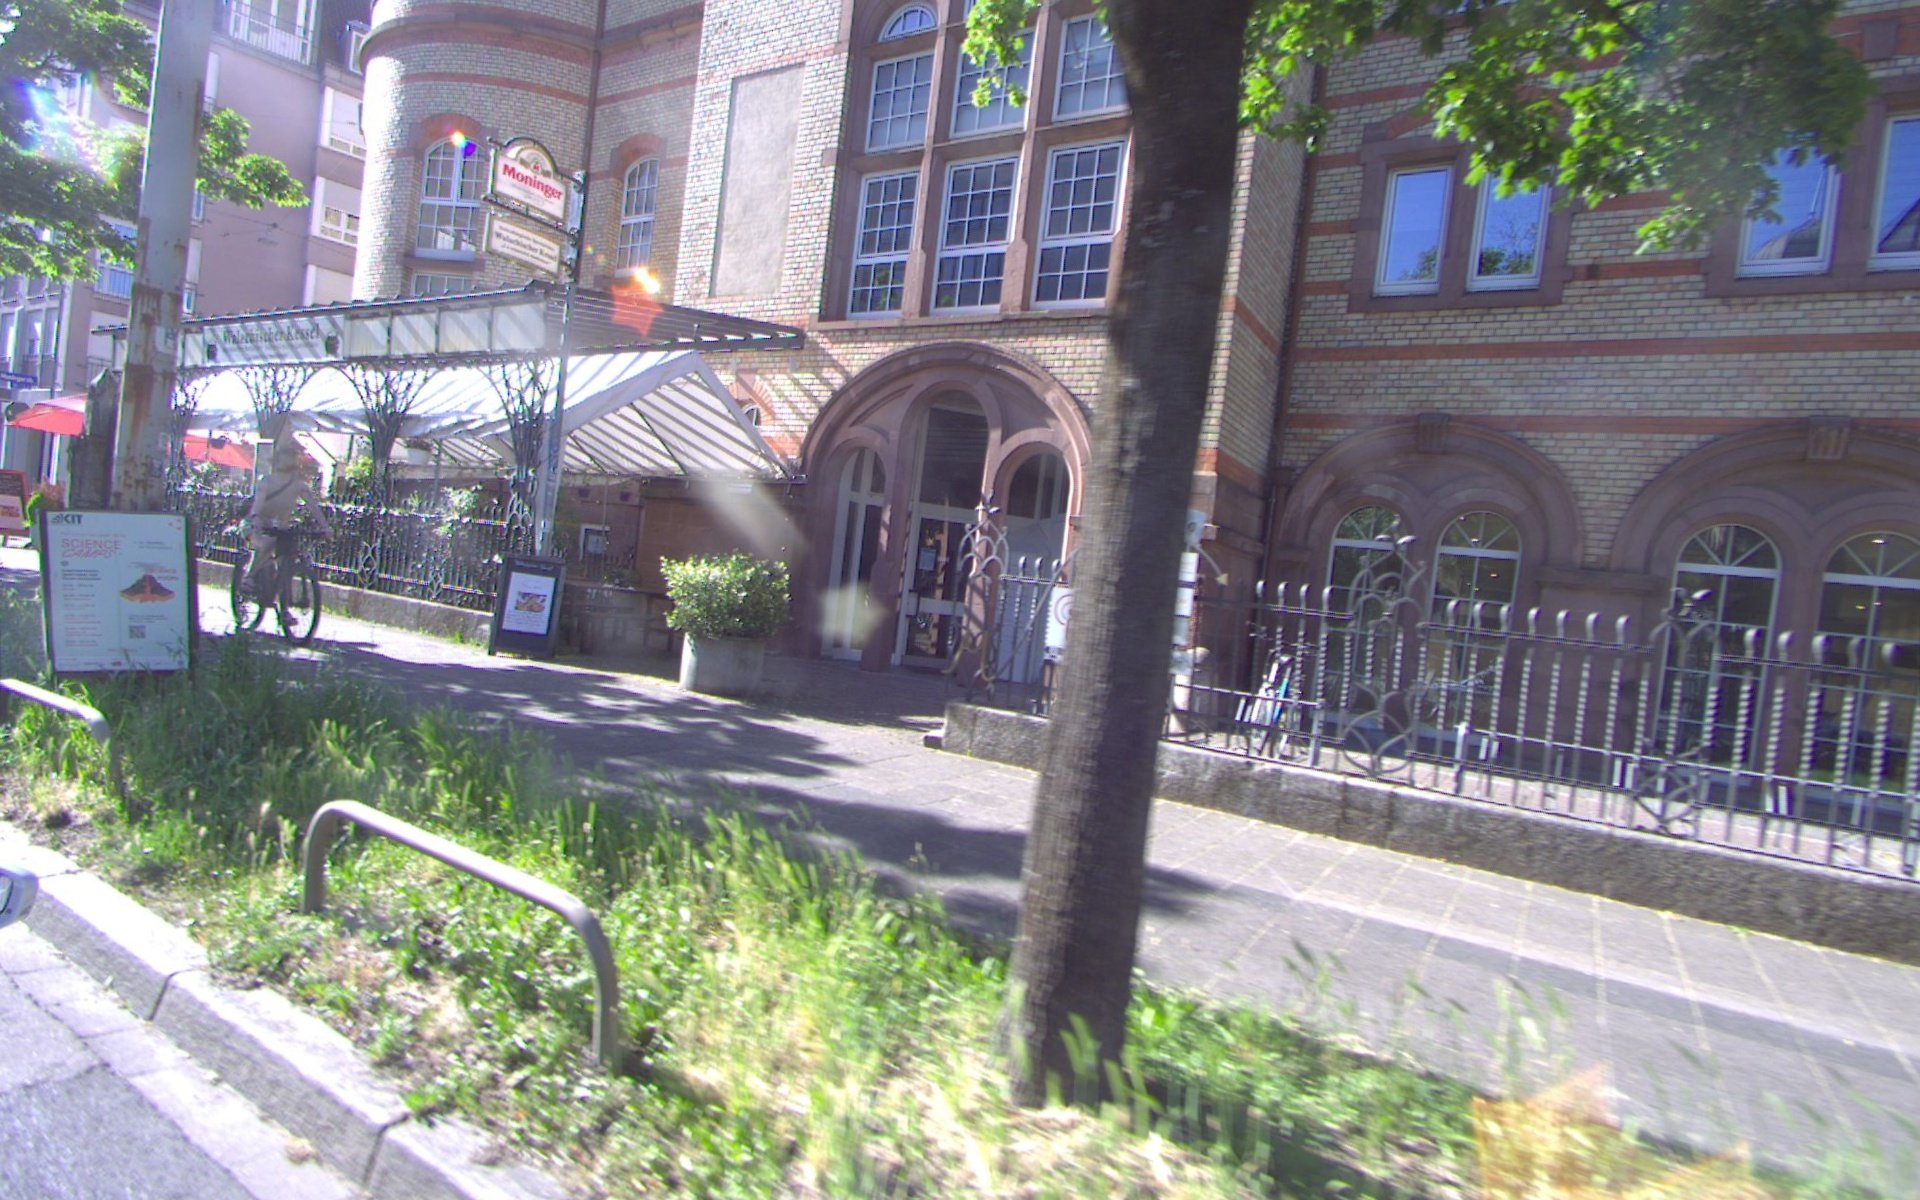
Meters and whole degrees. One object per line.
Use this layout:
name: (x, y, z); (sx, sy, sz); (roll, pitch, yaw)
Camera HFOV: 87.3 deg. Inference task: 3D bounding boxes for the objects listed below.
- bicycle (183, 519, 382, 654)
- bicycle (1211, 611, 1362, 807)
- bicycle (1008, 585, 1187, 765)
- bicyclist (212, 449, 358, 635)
bicycle: (-6.401, -0.141, 9.462); (2.061, 1.041, 0.686); (6, 1, 31)
bicycle: (2.521, 0.753, 7.580); (0.675, 1.193, 2.200); (7, 0, 26)
bicycle: (1.179, 0.571, 8.088); (0.675, 1.193, 2.200); (7, 0, 26)
bicyclist: (-6.315, -0.535, 9.418); (0.939, 1.619, 0.701); (7, 1, 31)
